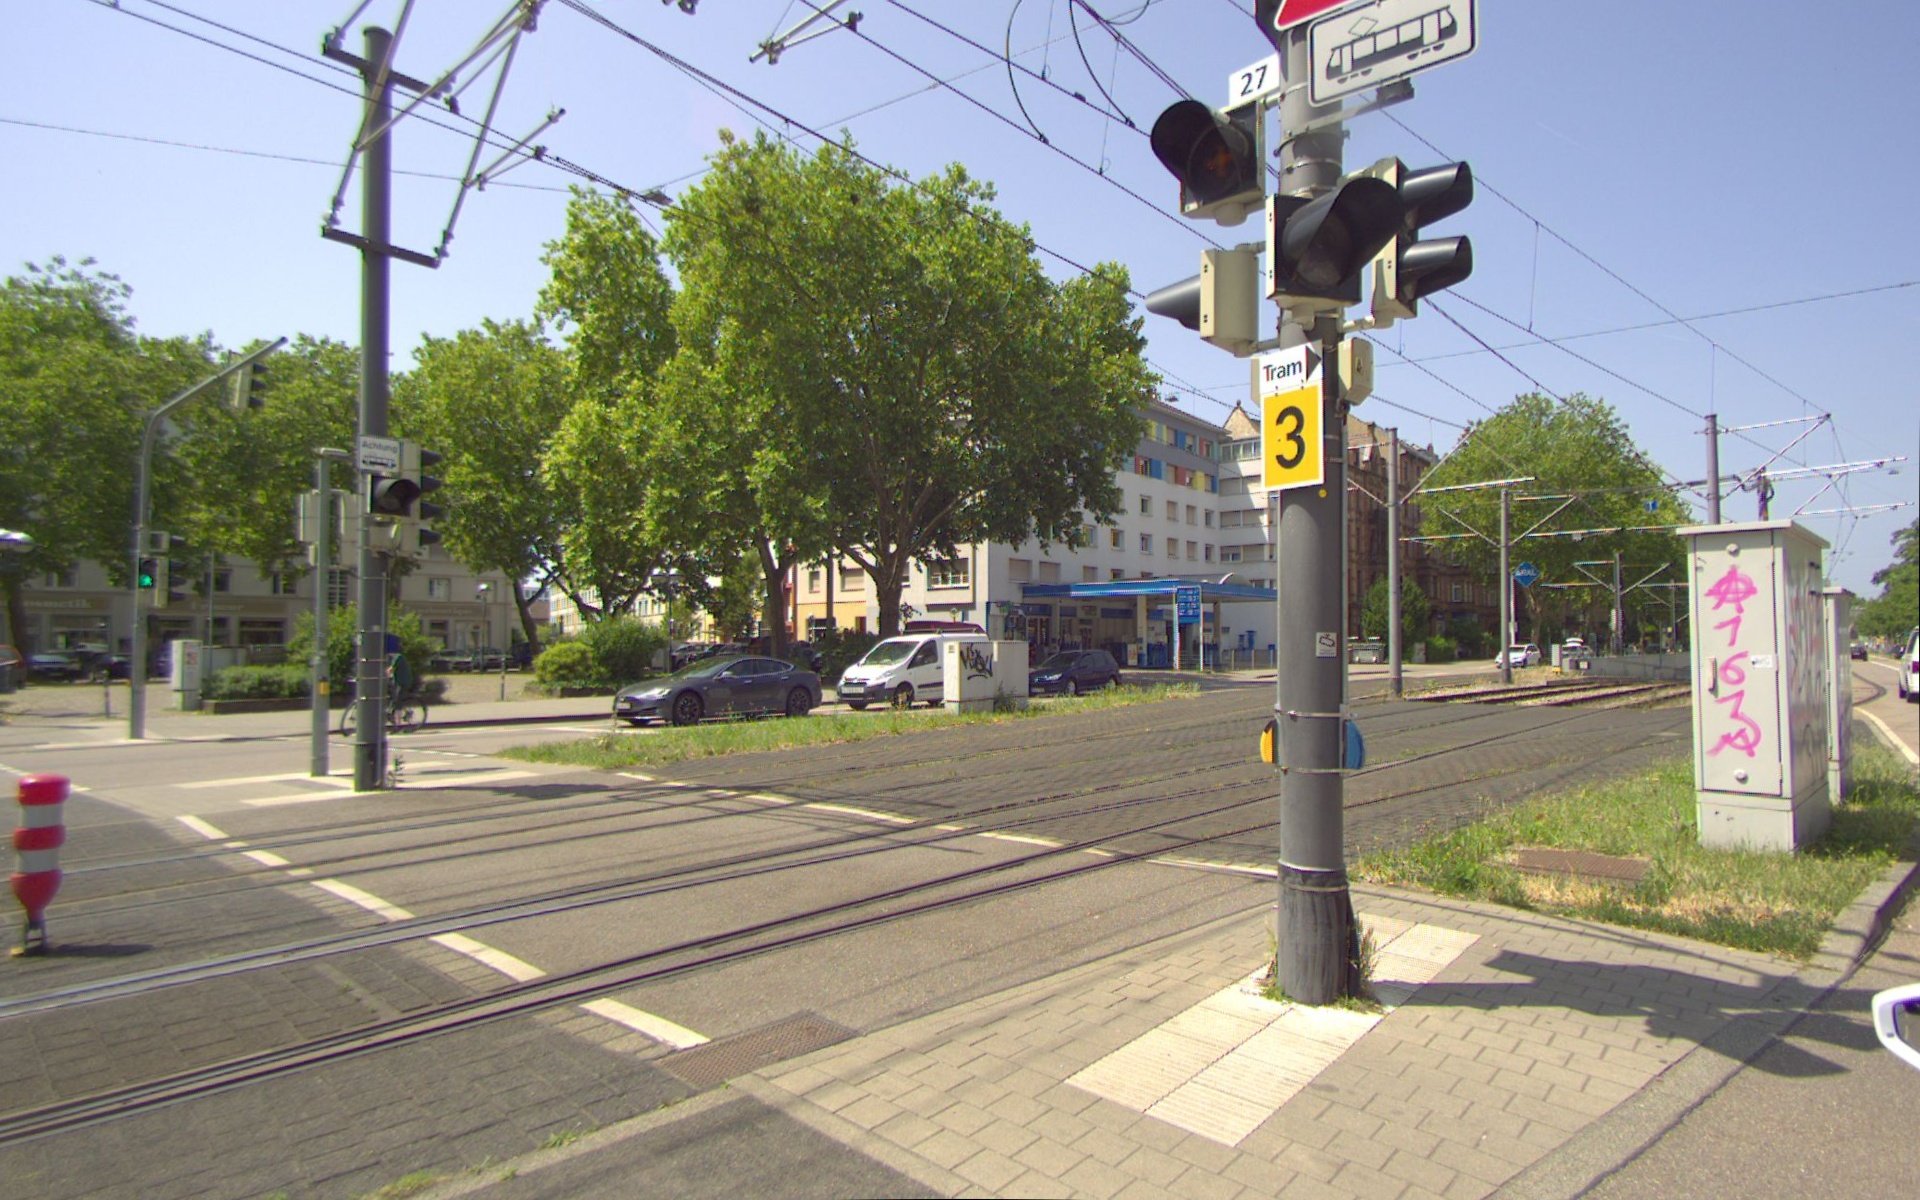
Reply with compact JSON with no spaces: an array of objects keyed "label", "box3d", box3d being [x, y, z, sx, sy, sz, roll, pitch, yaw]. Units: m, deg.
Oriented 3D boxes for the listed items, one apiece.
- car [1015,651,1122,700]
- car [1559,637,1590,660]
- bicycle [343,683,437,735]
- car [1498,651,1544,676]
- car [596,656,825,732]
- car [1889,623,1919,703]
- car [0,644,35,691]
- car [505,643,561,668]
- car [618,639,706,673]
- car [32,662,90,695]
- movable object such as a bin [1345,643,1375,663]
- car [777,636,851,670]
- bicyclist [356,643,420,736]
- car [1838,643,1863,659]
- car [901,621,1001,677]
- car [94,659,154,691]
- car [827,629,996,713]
[{"label":"car","box3d":[3.521,2.382,32.086,1.578,1.438,3.764,-4,-4,40]},{"label":"car","box3d":[54.670,4.314,89.287,1.968,1.929,4.701,-1,-2,36]},{"label":"bicycle","box3d":[-10.864,2.058,19.184,0.490,0.894,1.477,-1,-2,38]},{"label":"car","box3d":[38.784,4.362,69.358,1.826,1.646,4.579,-4,-4,41]},{"label":"car","box3d":[-5.270,1.944,21.754,1.924,1.377,4.608,-2,-3,39]},{"label":"car","box3d":[25.488,1.610,25.975,1.894,1.969,4.245,-1,-2,40]},{"label":"car","box3d":[-30.878,2.142,32.149,3.295,1.402,1.466,-1,-2,40]},{"label":"car","box3d":[-27.235,3.523,64.064,3.791,1.507,1.727,-2,-3,39]},{"label":"car","box3d":[-18.162,3.390,61.513,1.892,2.016,5.091,-2,-3,35]},{"label":"car","box3d":[-42.743,3.697,47.737,3.198,1.428,1.614,-1,-2,40]},{"label":"movable object such as a bin","box3d":[29.696,3.921,74.591,1.761,1.403,1.463,-2,-3,39]},{"label":"car","box3d":[-7.640,2.761,52.916,1.561,1.714,3.910,-2,-3,38]},{"label":"bicyclist","box3d":[-10.947,1.691,19.233,0.630,1.708,0.865,-1,-2,37]},{"label":"car","box3d":[90.137,5.134,101.712,1.729,1.559,3.741,-1,-3,40]},{"label":"car","box3d":[-0.356,2.240,46.472,1.826,2.424,4.955,-2,-3,42]},{"label":"car","box3d":[-41.400,3.662,49.724,3.868,1.428,1.614,-1,-3,40]},{"label":"car","box3d":[-1.173,1.804,26.591,1.756,2.017,4.784,-2,-3,39]}]
